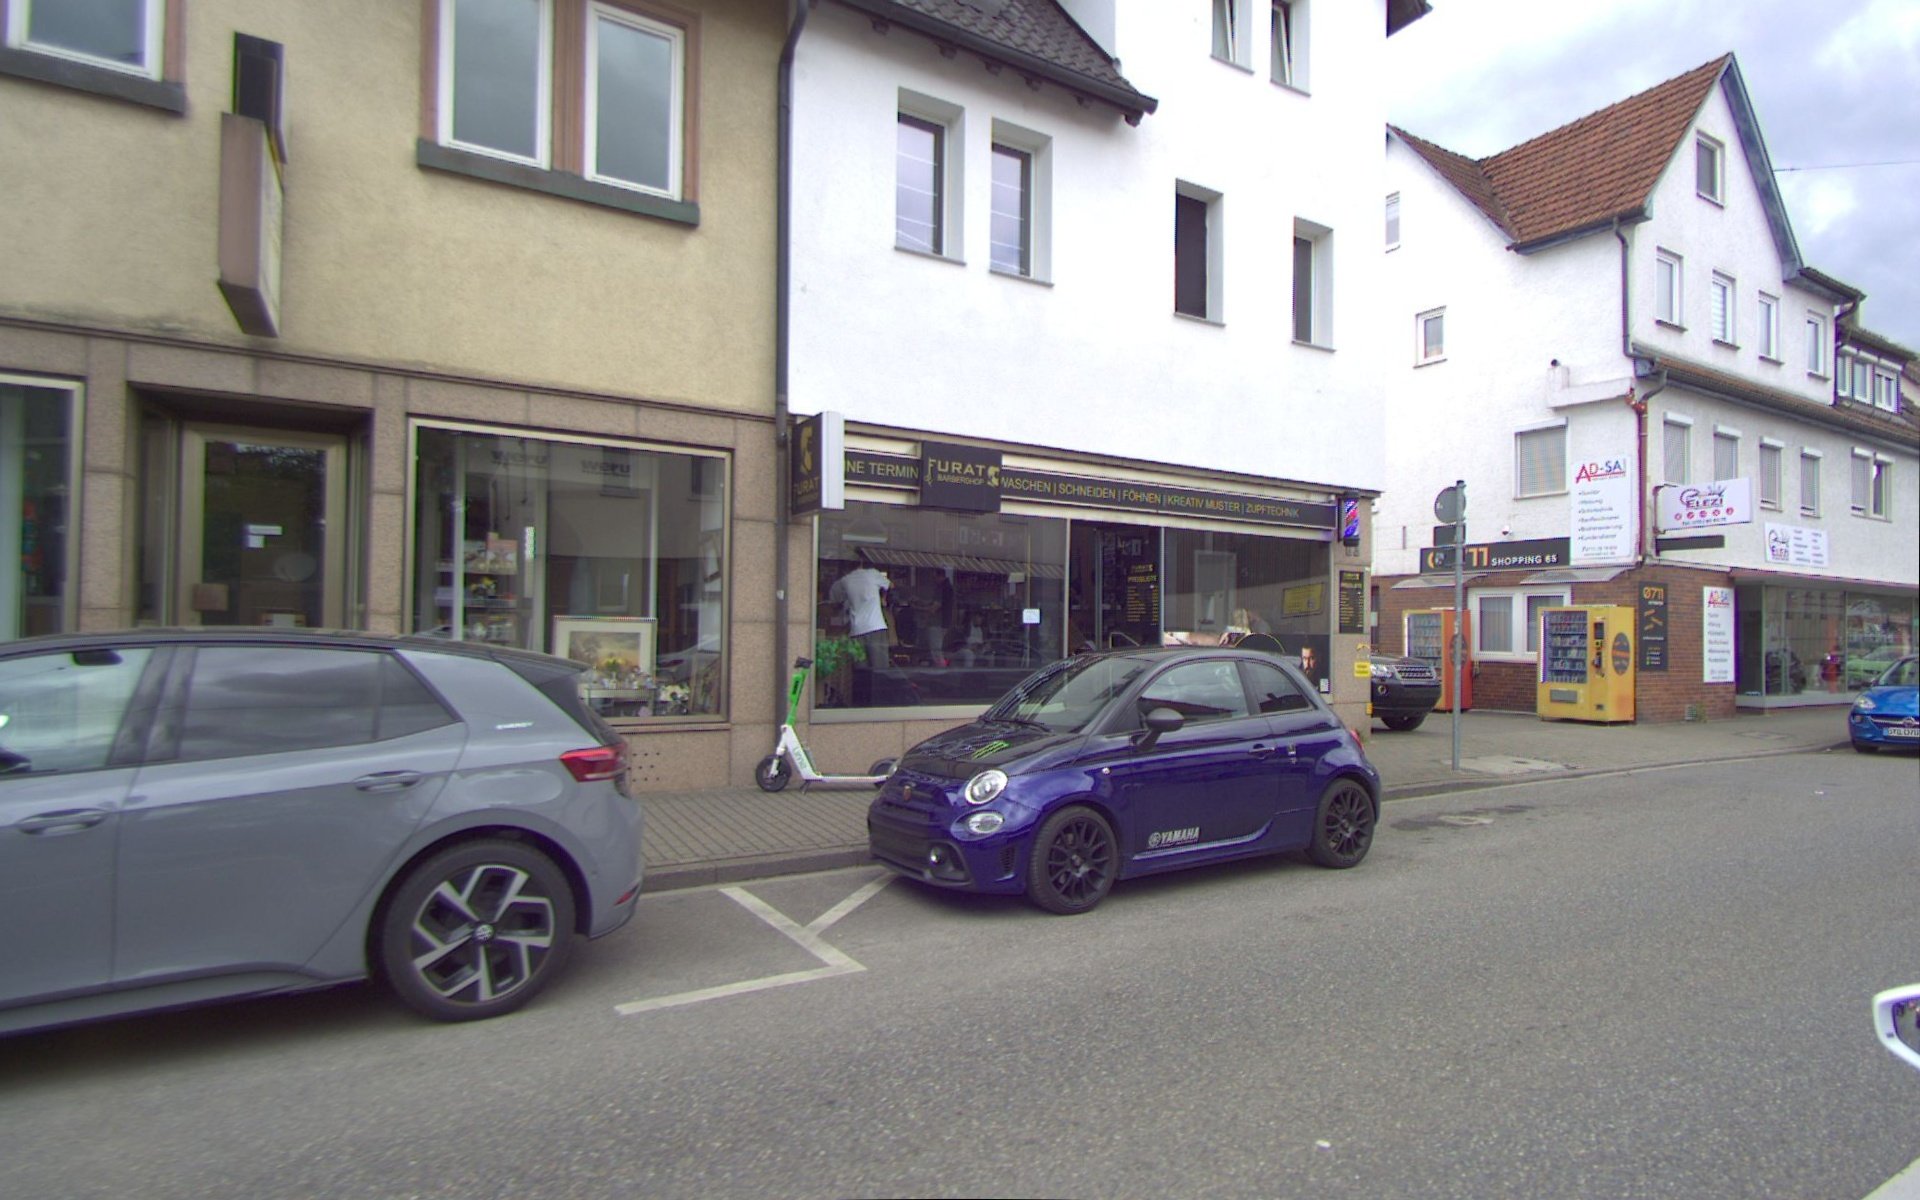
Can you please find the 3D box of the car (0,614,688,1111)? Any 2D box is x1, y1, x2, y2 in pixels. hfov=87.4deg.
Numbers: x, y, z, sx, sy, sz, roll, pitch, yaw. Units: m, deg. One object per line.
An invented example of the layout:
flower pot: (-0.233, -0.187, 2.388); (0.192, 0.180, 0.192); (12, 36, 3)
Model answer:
car: (-3.354, 0.887, 4.069); (4.065, 1.586, 1.702); (2, -3, -30)

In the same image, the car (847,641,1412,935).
car: (1.188, 1.052, 6.822); (3.549, 1.512, 1.675); (2, -3, -30)

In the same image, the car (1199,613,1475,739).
car: (5.779, 1.080, 15.938); (1.970, 1.725, 3.981); (1, -1, -21)

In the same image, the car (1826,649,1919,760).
car: (14.660, 1.479, 14.837); (3.730, 1.519, 1.675); (2, -3, -30)
